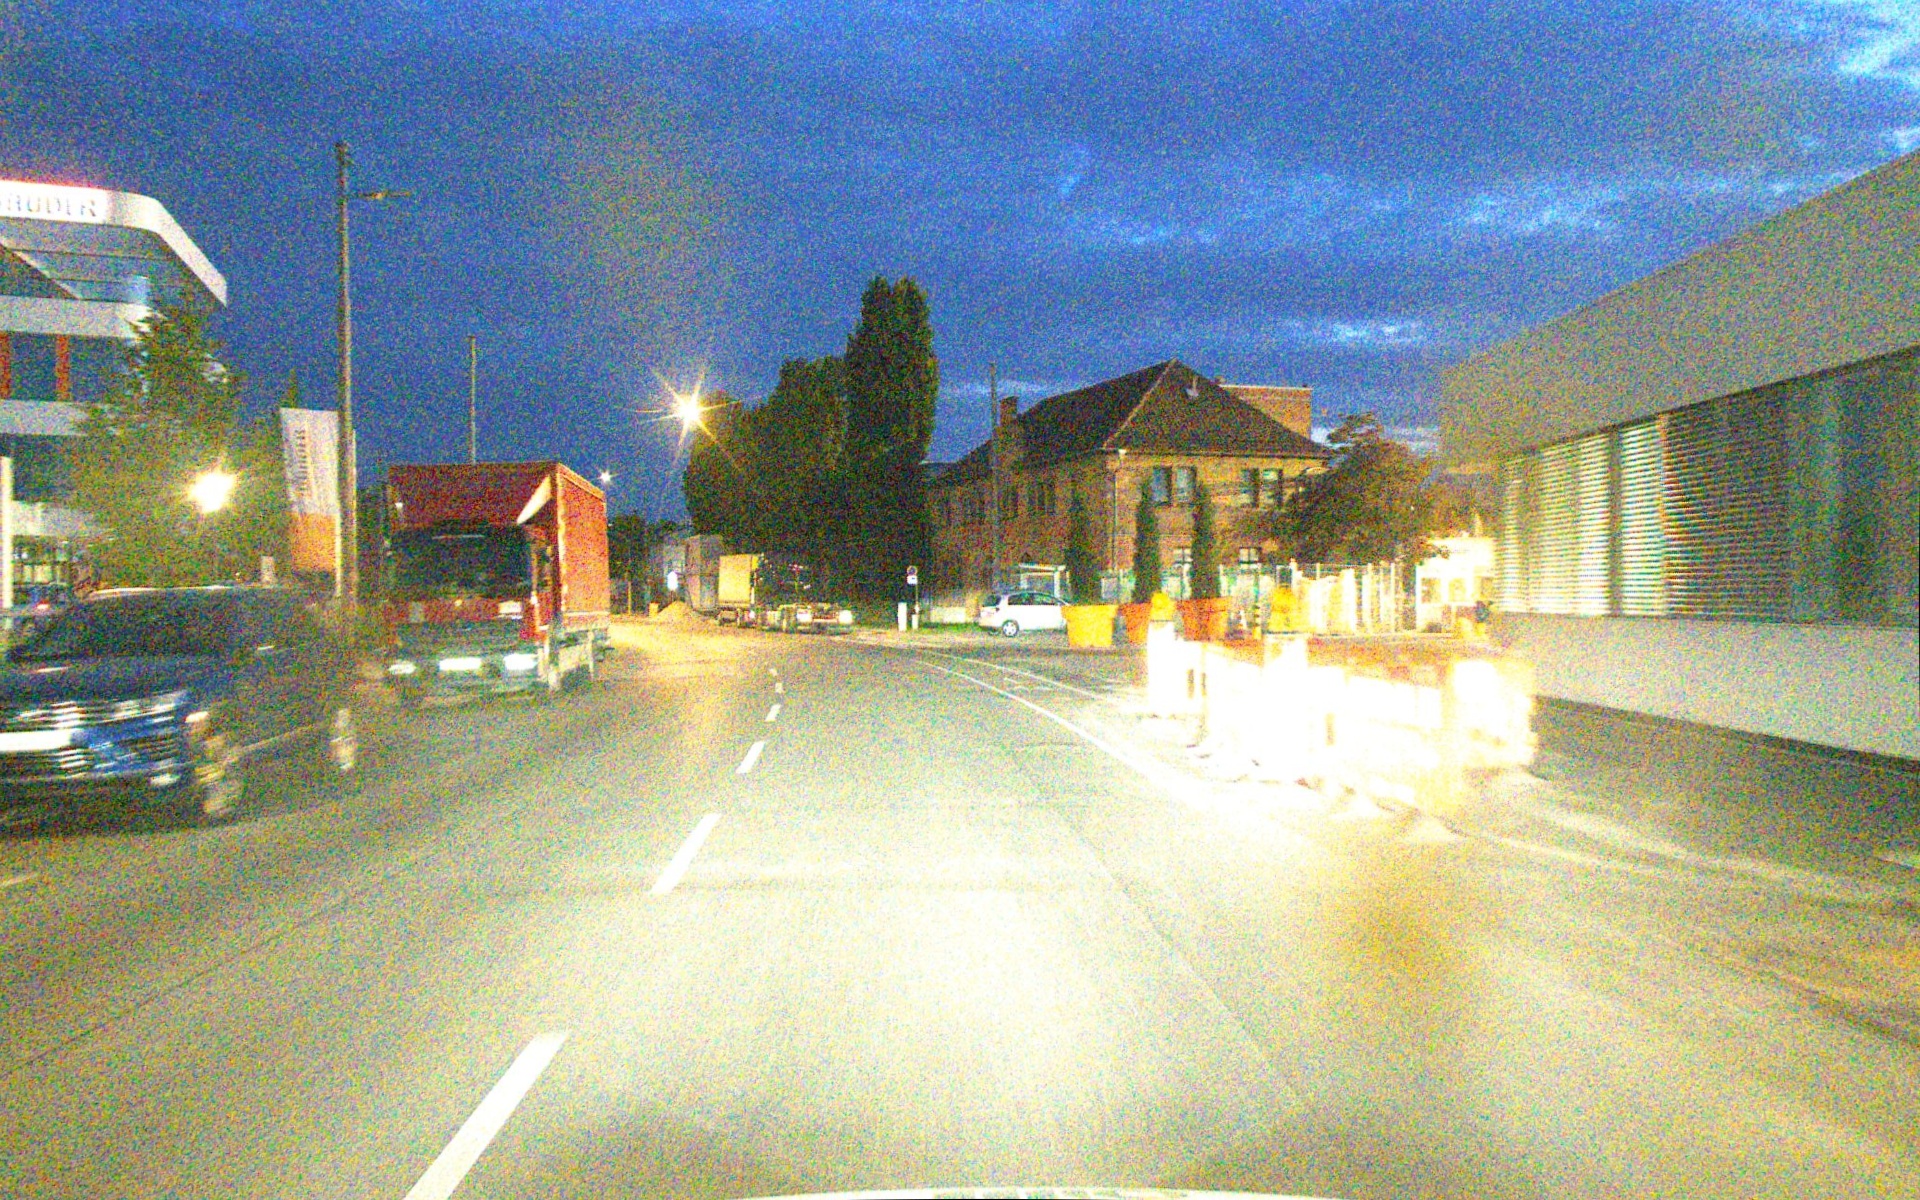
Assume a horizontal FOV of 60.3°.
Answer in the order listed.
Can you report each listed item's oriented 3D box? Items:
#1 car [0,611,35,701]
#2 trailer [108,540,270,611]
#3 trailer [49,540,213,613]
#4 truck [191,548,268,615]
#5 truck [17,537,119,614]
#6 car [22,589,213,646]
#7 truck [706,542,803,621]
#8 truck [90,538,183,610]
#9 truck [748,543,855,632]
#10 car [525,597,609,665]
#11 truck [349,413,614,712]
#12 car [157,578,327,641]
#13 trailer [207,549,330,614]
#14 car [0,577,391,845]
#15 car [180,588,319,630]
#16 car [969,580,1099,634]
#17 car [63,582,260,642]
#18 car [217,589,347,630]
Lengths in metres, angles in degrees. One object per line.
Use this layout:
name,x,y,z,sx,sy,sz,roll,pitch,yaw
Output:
car,-17.836,0.946,27.436,3.954,1.449,1.858,-1,0,-15
trailer,-49.863,-1.496,107.744,2.994,4.221,15.006,1,0,2
trailer,-53.847,-1.442,108.196,2.995,4.433,15.003,1,0,1
truck,-45.120,-1.126,102.282,2.998,4.001,4.498,1,0,-5
truck,-53.934,-1.441,100.145,2.995,4.433,5.566,1,0,1
car,-22.846,0.456,45.009,4.333,1.478,1.820,0,0,-17
truck,-10.803,-0.922,85.993,2.715,3.849,10.163,-1,0,-20
truck,-50.117,-1.539,100.798,2.994,4.221,4.937,1,0,2
truck,-7.443,-0.560,76.414,2.715,3.849,9.083,-1,0,-20
car,-9.926,0.737,42.039,1.833,1.620,4.483,0,0,-11
truck,-7.727,-0.564,28.026,2.719,4.192,9.328,-1,0,-6
car,-21.863,0.277,50.545,4.533,1.847,1.954,0,0,-17
trailer,-45.756,-1.170,110.117,2.998,4.001,14.988,1,0,-5
car,-6.348,0.719,13.473,1.905,1.747,5.194,-1,0,-4
car,-24.415,0.296,56.974,4.198,1.418,1.819,0,0,-17
car,2.660,0.238,59.386,4.265,1.675,1.880,-3,2,-22
car,-20.657,0.292,42.996,4.333,1.508,1.884,0,0,-17
car,-25.474,0.349,62.258,4.333,1.504,1.842,0,0,-17
